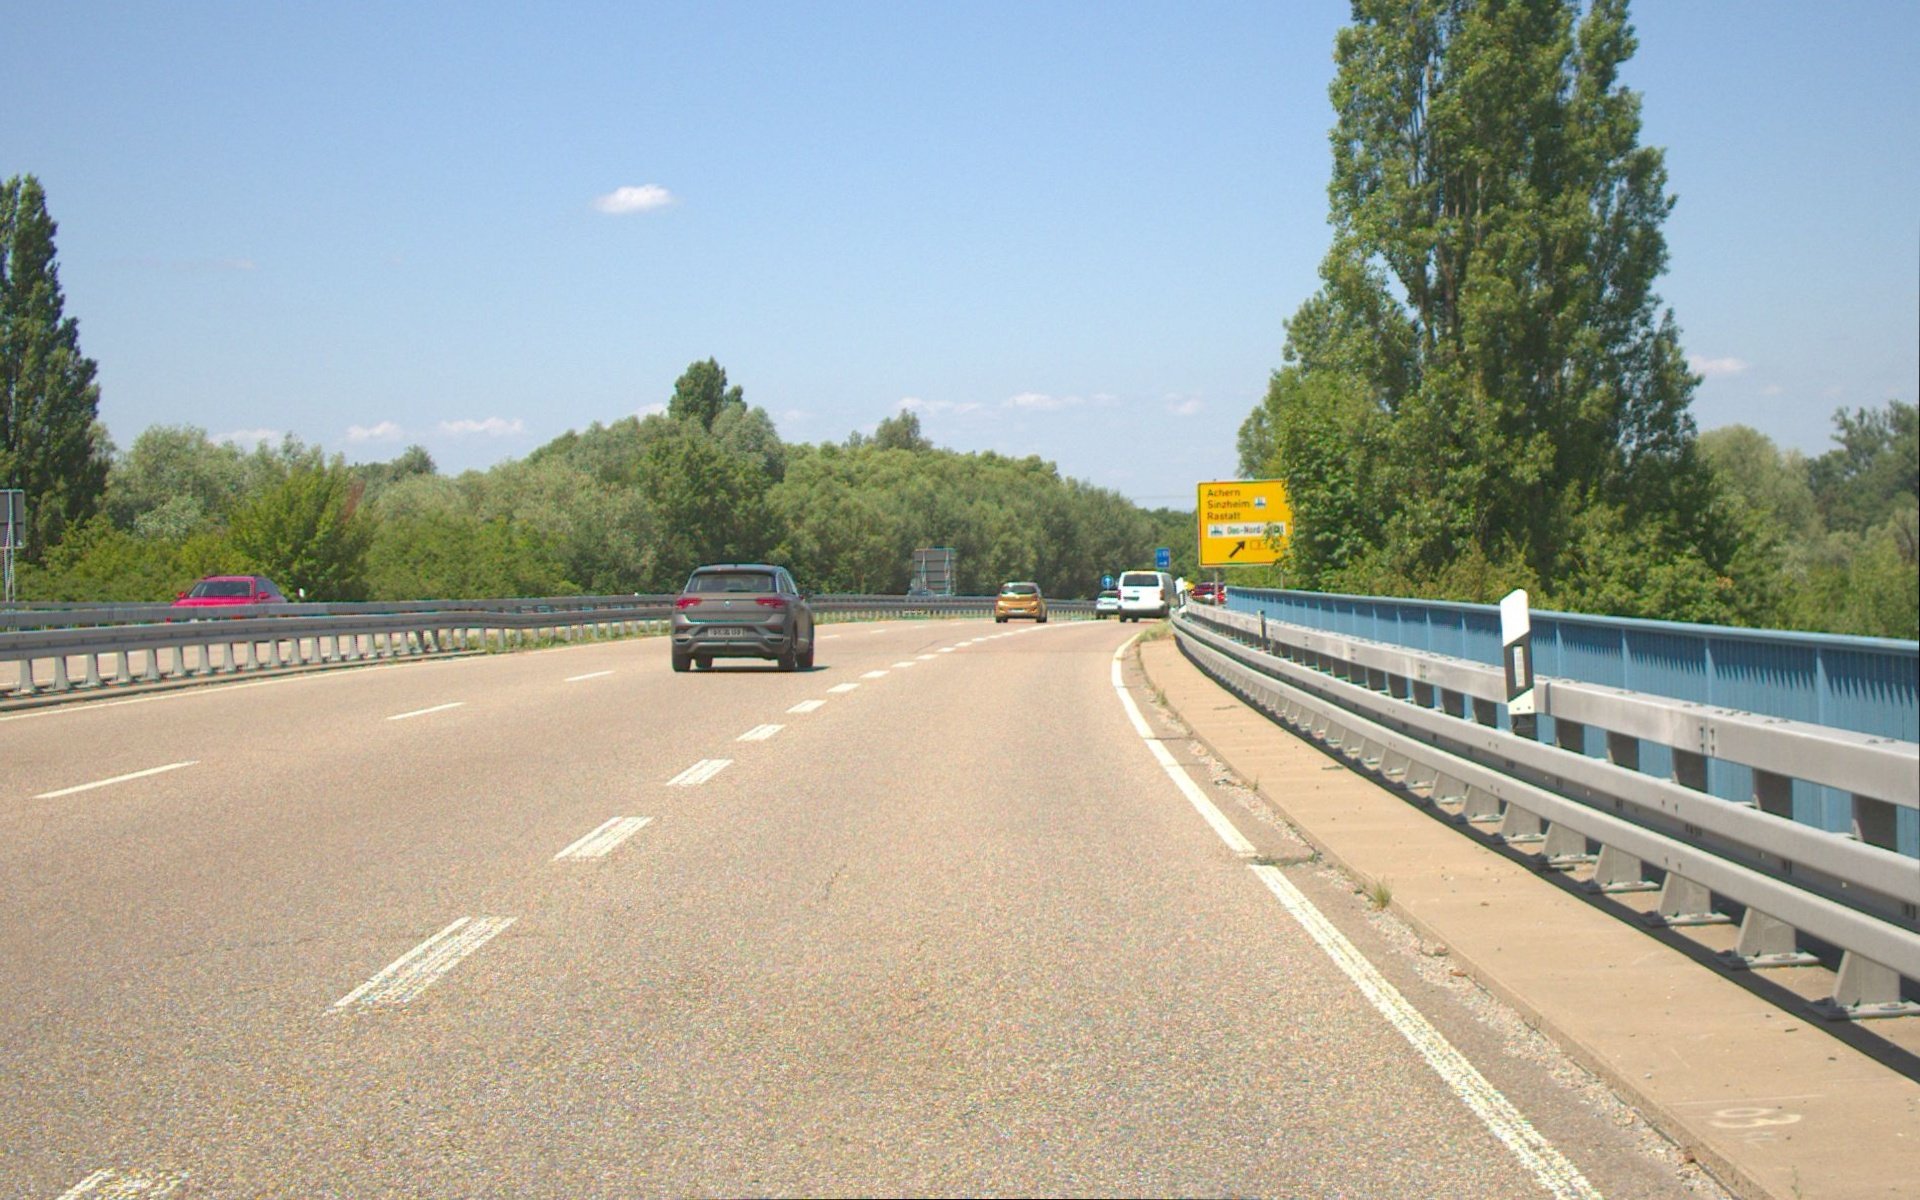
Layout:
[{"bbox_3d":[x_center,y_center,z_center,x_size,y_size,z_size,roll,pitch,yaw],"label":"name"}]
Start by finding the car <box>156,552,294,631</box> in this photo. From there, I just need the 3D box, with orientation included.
[{"bbox_3d":[-16.053,-0.169,75.317,1.843,1.662,5.050,-1,0,1],"label":"car"}]

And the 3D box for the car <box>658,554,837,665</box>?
[{"bbox_3d":[-3.092,0.101,50.823,1.842,1.524,4.469,1,1,7],"label":"car"}]

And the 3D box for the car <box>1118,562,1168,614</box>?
[{"bbox_3d":[6.948,-0.475,131.115,1.841,1.889,4.000,1,1,3],"label":"car"}]

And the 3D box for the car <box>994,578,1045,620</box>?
[{"bbox_3d":[2.179,-0.061,126.831,1.841,1.459,4.000,1,1,1],"label":"car"}]

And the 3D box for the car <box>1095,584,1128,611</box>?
[{"bbox_3d":[8.626,-0.173,196.238,1.841,1.446,4.000,1,1,2],"label":"car"}]
